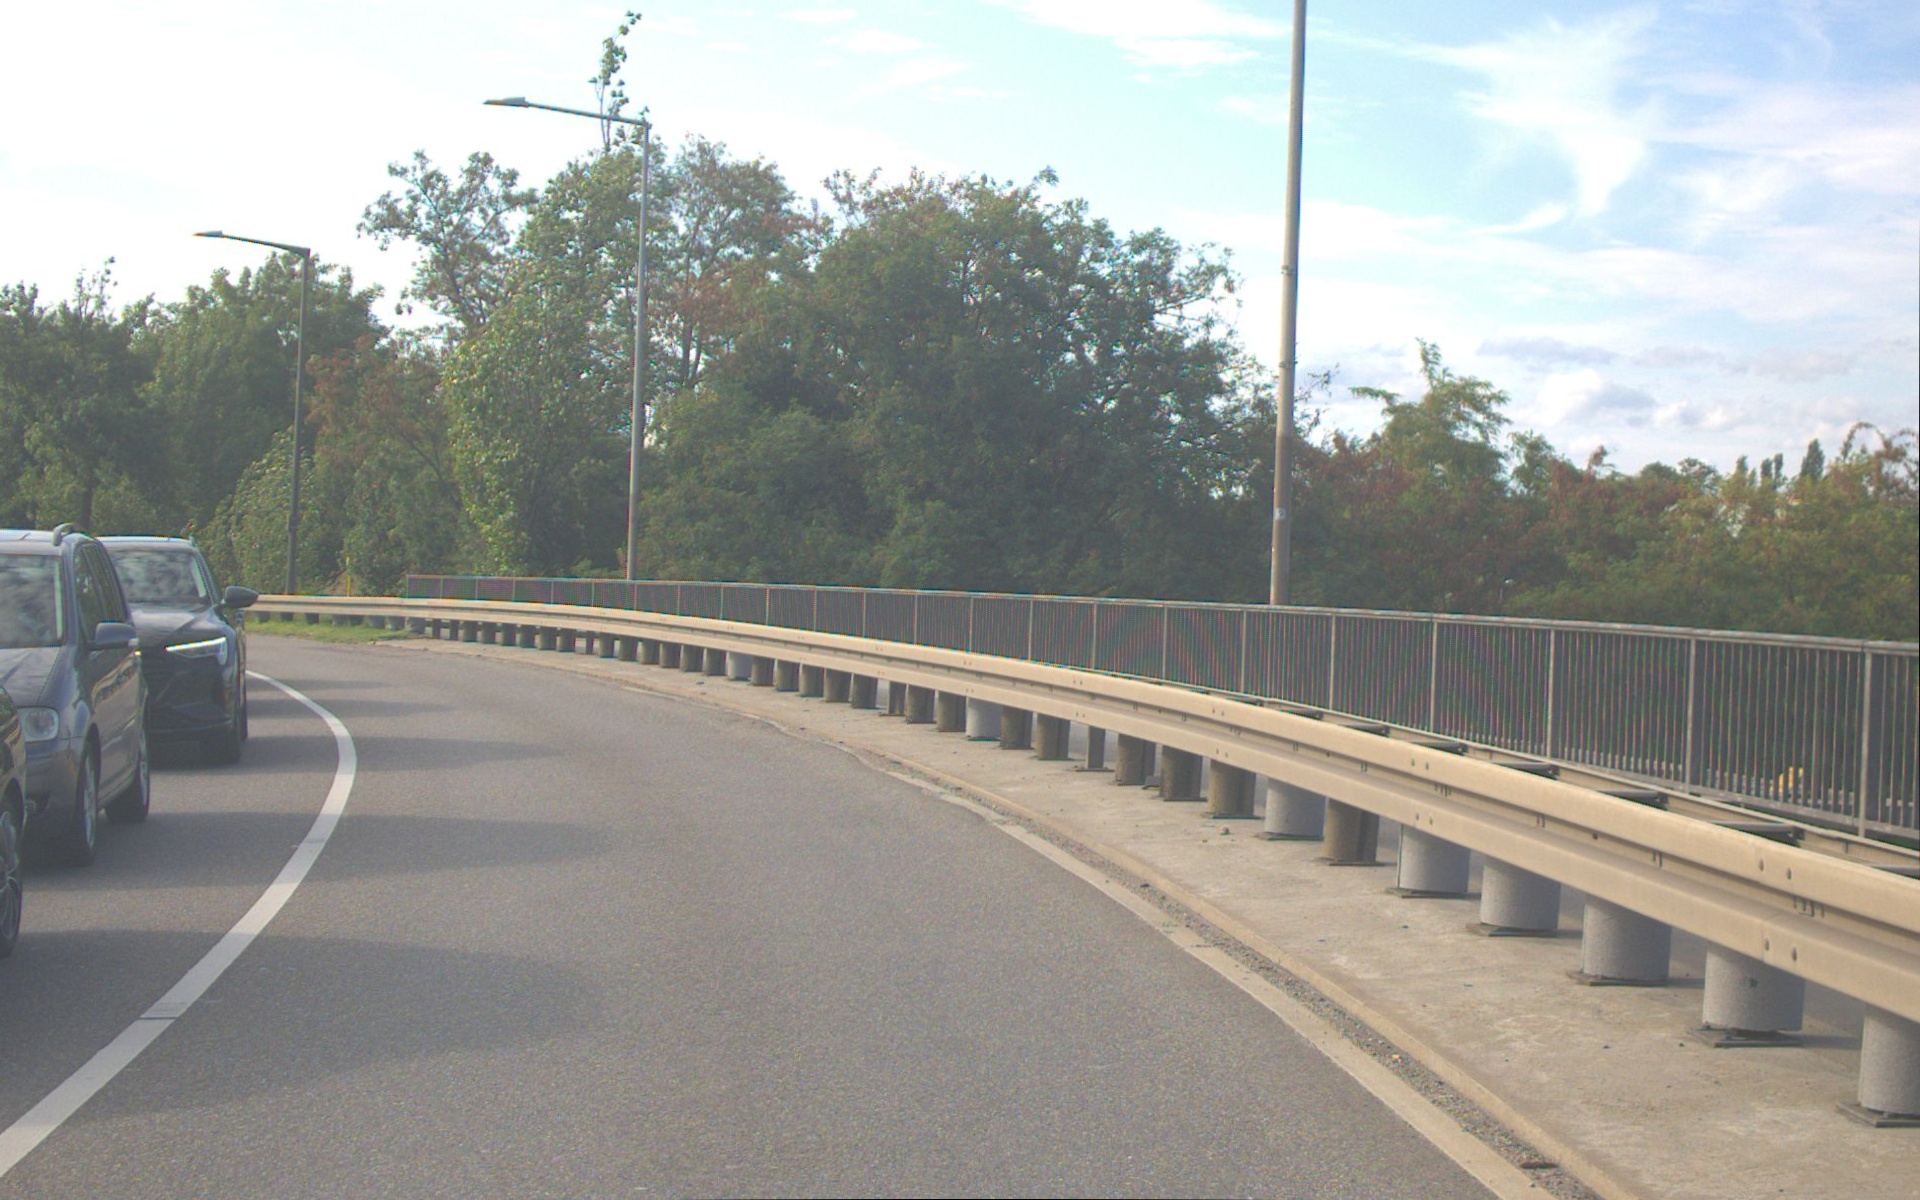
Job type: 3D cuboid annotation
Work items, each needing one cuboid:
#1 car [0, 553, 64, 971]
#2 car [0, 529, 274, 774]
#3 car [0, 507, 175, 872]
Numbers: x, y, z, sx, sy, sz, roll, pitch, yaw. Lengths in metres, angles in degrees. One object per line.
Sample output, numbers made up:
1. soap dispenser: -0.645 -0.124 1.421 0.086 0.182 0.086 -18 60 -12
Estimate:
1. car: -4.194 0.589 11.180 1.832 1.460 4.519 -1 1 -6
2. car: -6.211 0.315 25.666 1.925 1.643 4.590 -1 1 -9
3. car: -5.074 0.382 17.573 1.681 1.643 4.299 -1 1 -8
